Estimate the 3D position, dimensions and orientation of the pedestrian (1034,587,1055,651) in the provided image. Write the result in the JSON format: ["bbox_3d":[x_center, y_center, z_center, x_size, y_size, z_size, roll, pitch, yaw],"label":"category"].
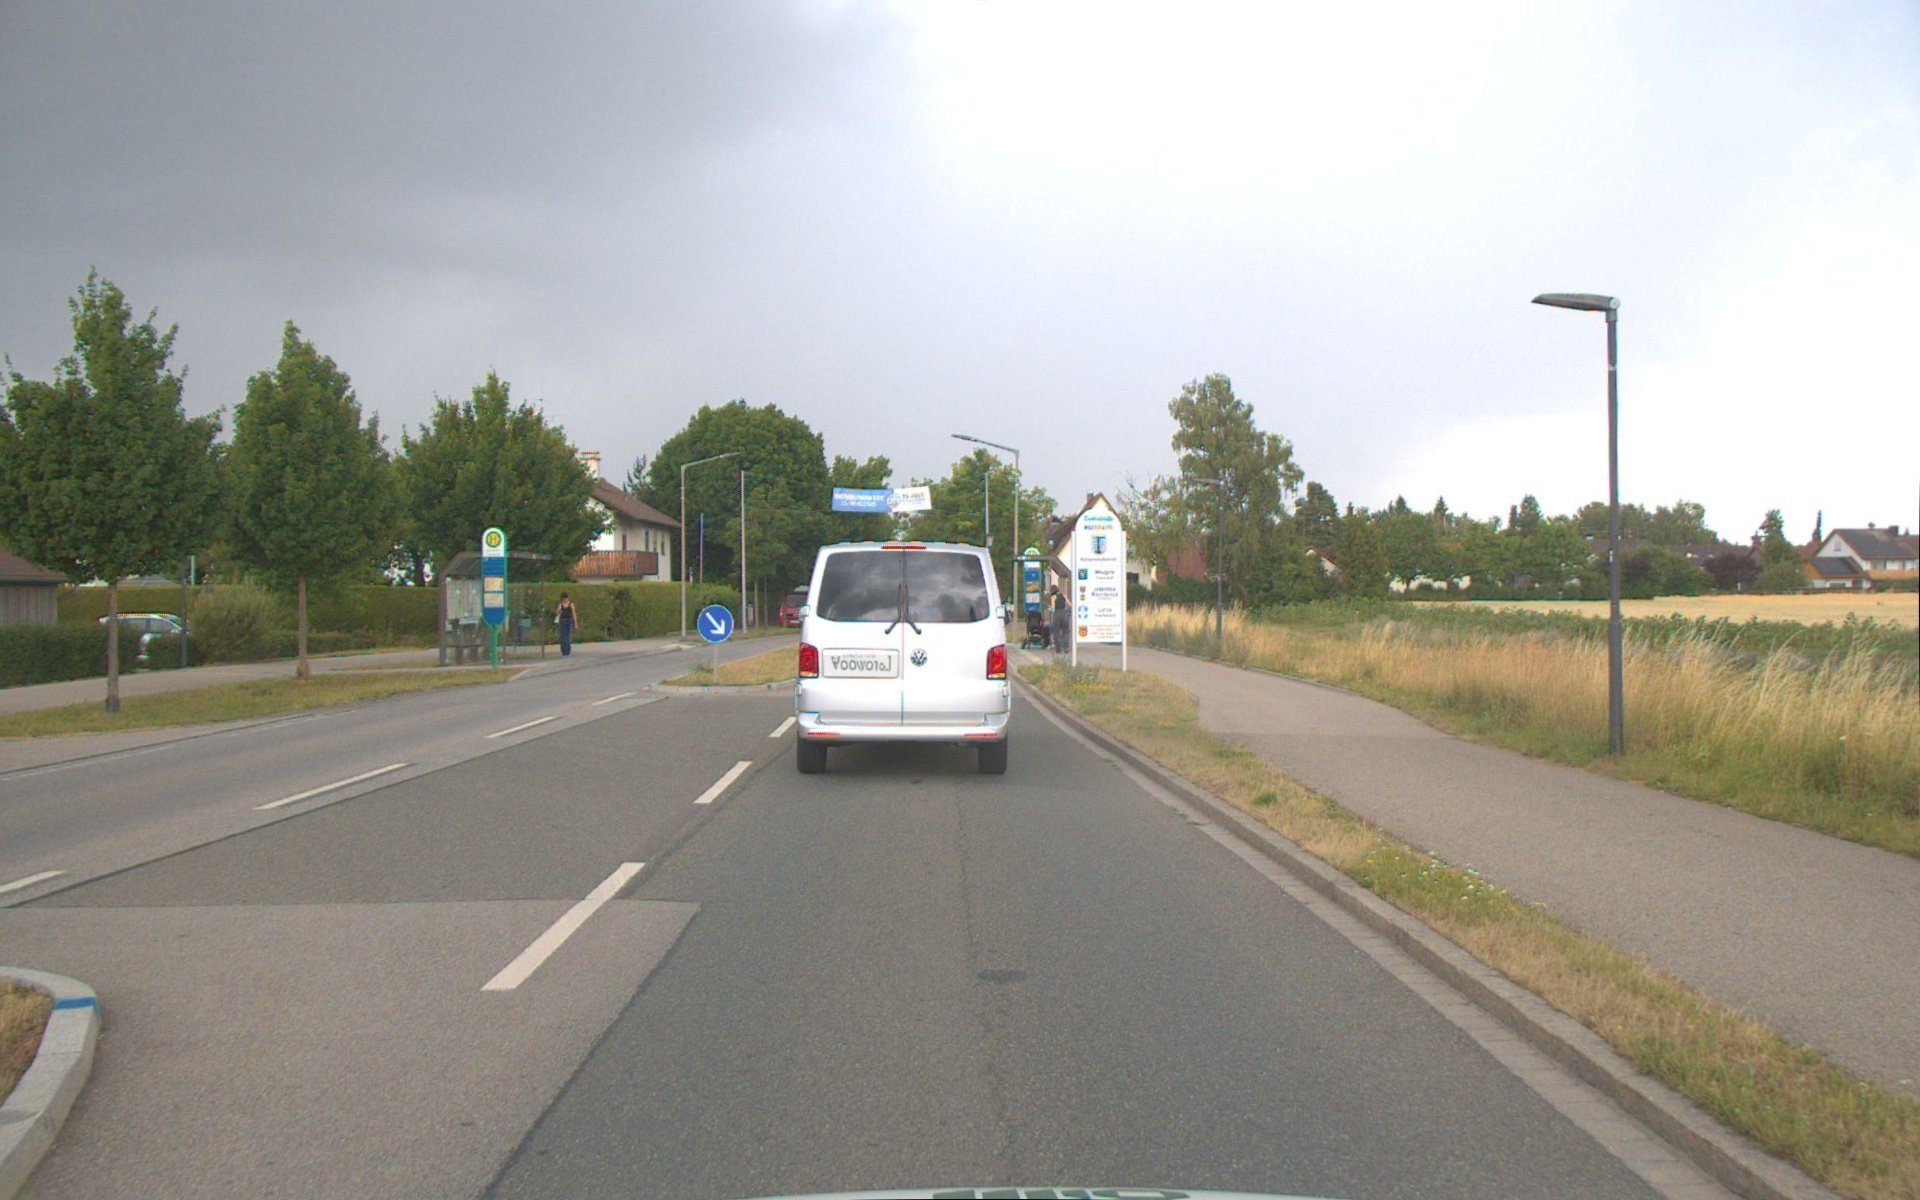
[{"bbox_3d":[2.362,0.521,46.319,0.475,1.762,0.642,-2,0,-2],"label":"pedestrian"}]

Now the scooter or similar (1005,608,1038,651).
[{"bbox_3d":[1.727,0.819,46.364,0.831,1.123,1.094,-2,0,-1],"label":"scooter or similar"}]

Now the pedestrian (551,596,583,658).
[{"bbox_3d":[-10.076,0.683,42.412,0.611,1.551,0.679,-2,0,-2],"label":"pedestrian"}]

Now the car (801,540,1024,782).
[{"bbox_3d":[-0.471,0.478,15.321,1.789,1.947,3.998,0,0,-3],"label":"car"}]

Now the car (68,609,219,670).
[{"bbox_3d":[-23.751,1.127,48.188,3.520,1.556,1.657,-2,0,-5],"label":"car"}]

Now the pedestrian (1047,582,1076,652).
[{"bbox_3d":[2.617,0.441,42.658,0.478,1.762,0.638,-2,0,-20],"label":"pedestrian"}]

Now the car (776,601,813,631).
[{"bbox_3d":[-8.693,0.811,87.219,1.620,1.454,3.601,-2,0,-1],"label":"car"}]
